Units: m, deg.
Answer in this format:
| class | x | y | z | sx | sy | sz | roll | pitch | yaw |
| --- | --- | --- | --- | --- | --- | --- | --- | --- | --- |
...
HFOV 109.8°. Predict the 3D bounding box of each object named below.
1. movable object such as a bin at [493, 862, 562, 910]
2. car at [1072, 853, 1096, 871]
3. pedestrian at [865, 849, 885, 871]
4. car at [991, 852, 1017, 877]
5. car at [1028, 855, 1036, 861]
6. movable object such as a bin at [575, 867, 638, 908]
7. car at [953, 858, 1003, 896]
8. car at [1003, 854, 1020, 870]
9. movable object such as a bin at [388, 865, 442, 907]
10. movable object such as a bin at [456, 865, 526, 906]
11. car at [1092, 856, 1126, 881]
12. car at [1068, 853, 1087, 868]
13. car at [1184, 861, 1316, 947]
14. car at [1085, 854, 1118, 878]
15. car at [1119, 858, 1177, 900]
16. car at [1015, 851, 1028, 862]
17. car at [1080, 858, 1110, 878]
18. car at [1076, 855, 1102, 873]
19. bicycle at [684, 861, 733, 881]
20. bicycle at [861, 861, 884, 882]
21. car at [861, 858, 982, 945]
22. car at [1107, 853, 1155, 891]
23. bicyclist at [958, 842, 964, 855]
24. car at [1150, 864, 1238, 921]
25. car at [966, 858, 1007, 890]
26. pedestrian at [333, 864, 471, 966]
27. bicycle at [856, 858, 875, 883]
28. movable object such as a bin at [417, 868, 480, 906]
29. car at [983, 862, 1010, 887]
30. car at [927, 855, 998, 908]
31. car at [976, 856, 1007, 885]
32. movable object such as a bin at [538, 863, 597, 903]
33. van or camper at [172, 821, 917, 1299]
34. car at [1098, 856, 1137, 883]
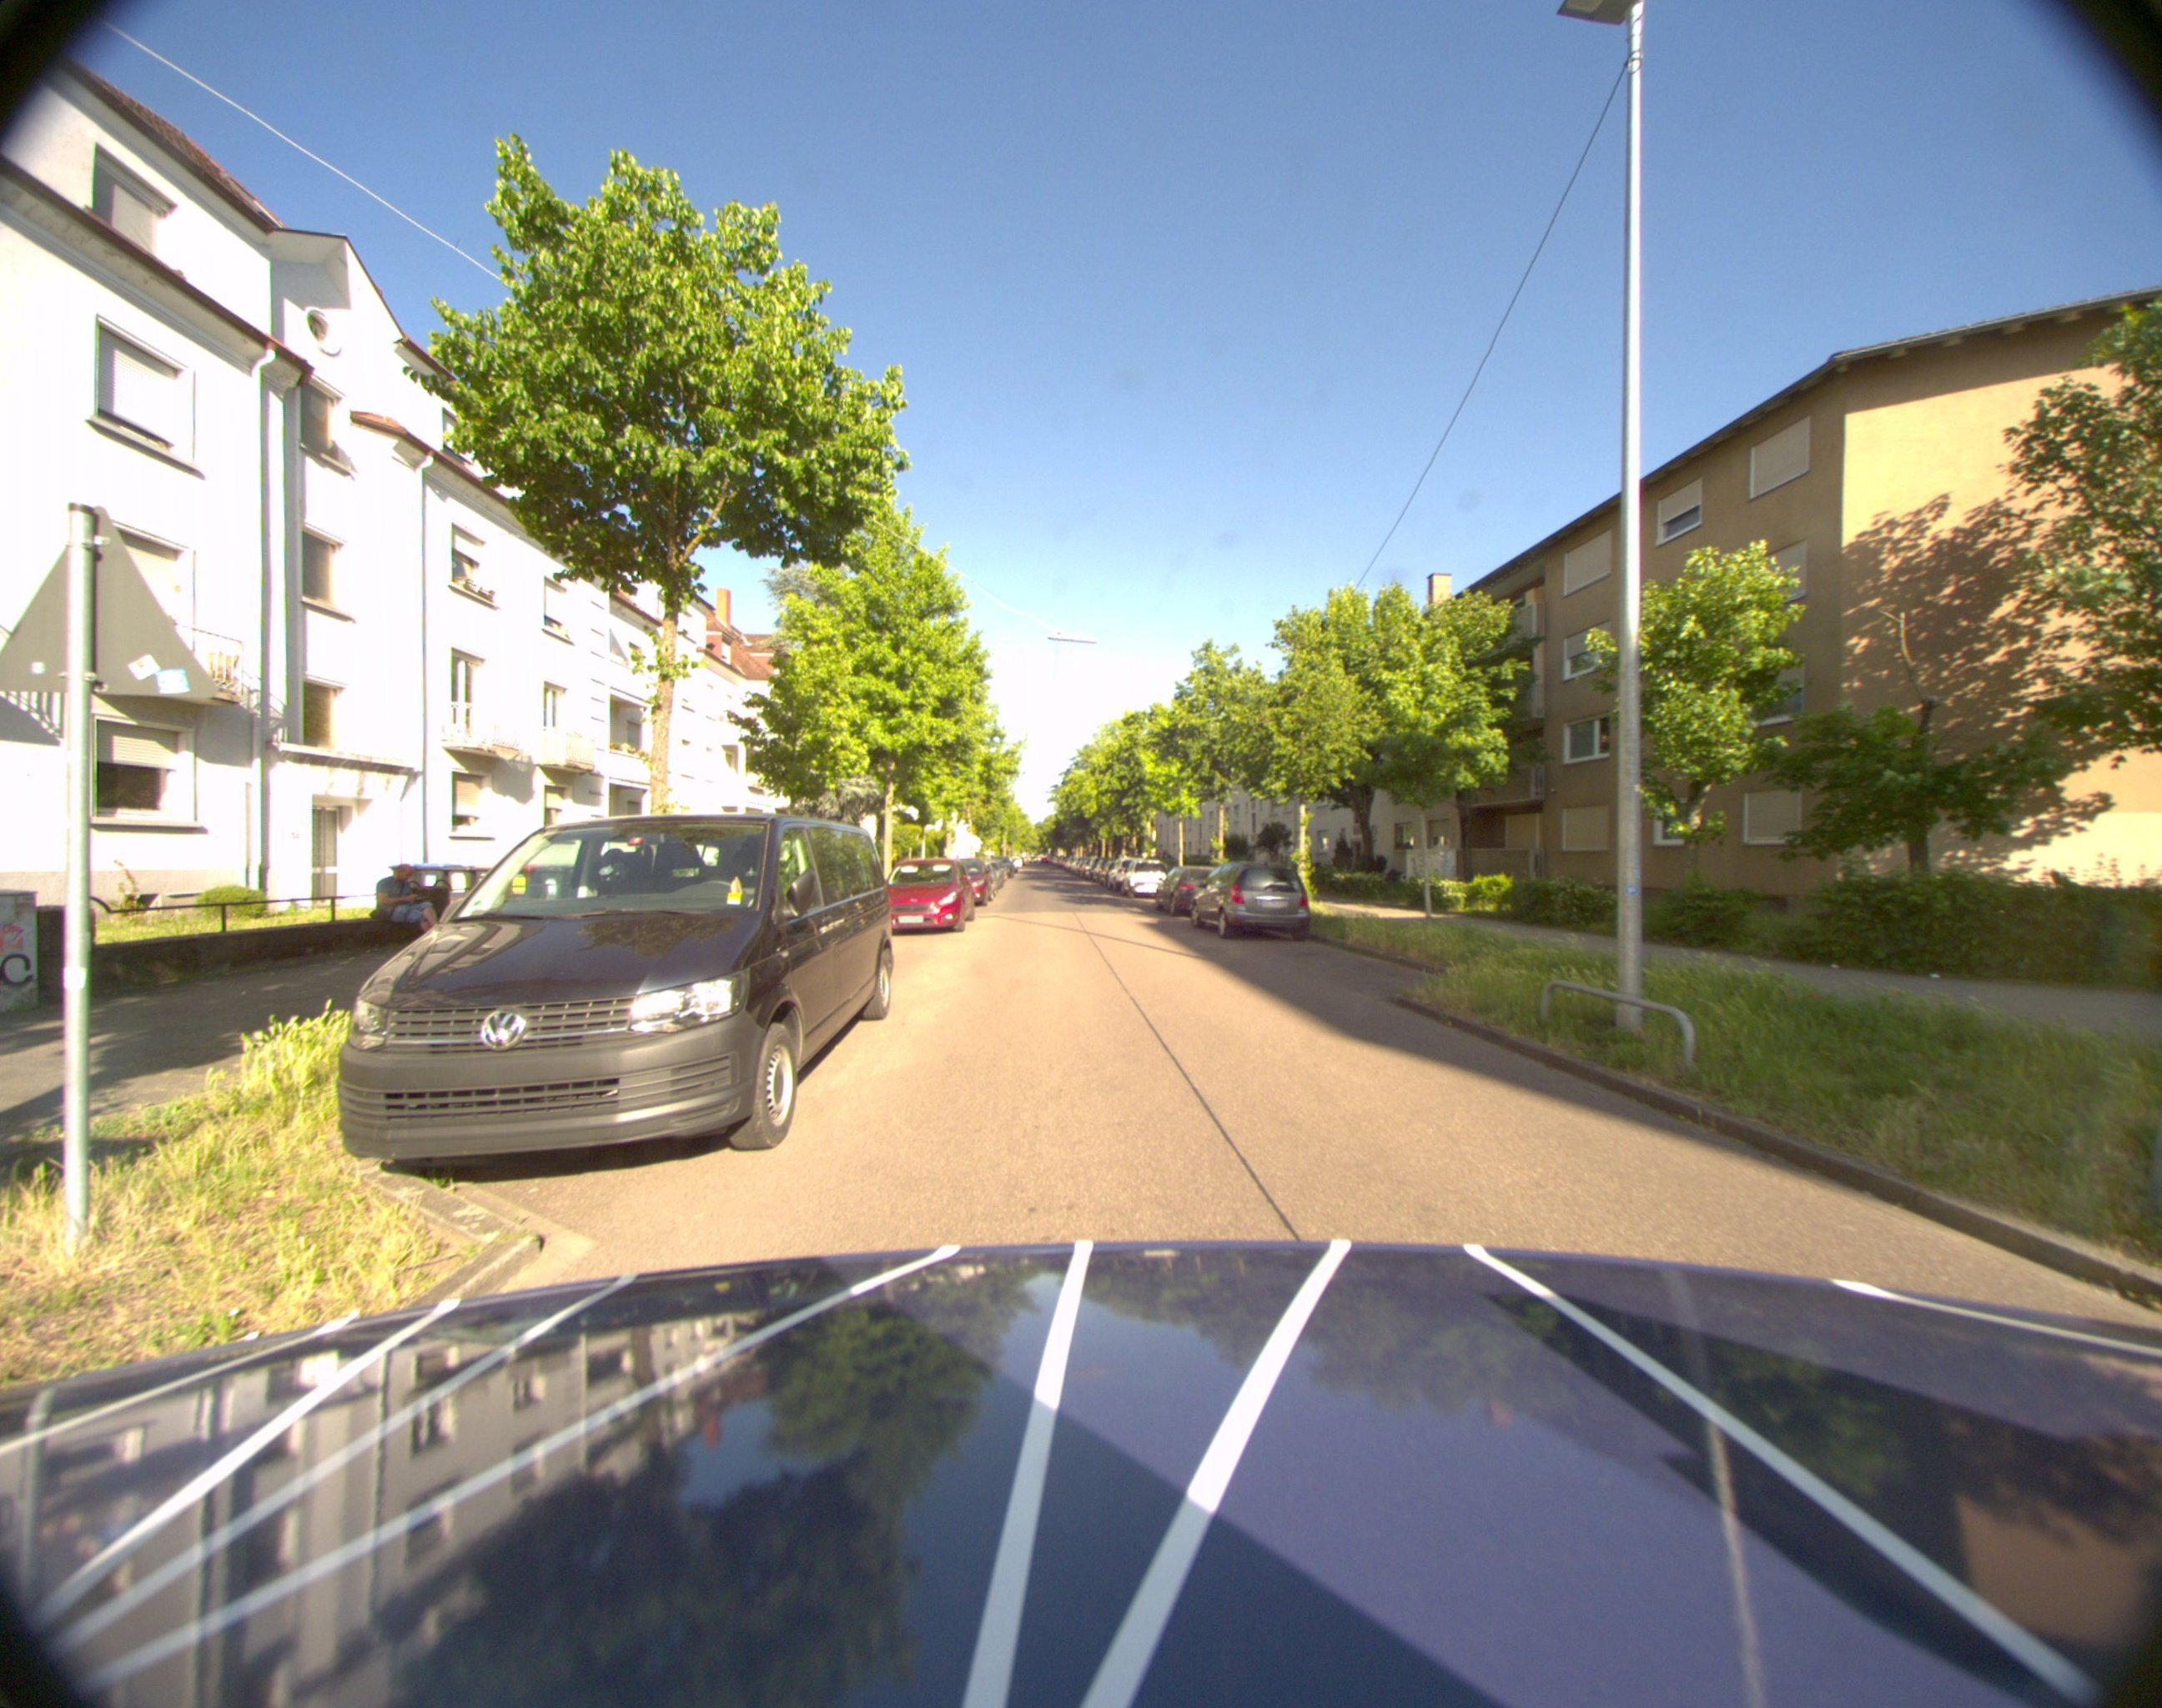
| class | x | y | z | sx | sy | sz | roll | pitch | yaw |
| --- | --- | --- | --- | --- | --- | --- | --- | --- | --- |
| movable object such as a bin | -12.703 | 0.723 | 17.471 | 0.777 | 1.020 | 1.010 | -2 | 1 | 1 |
| car | 0.242 | 0.686 | 69.526 | 1.880 | 1.553 | 4.181 | 1 | 1 | -4 |
| pedestrian | -13.258 | 0.398 | 48.928 | 1.038 | 1.370 | 0.714 | 0 | 1 | -39 |
| car | -5.610 | 0.743 | 55.680 | 1.769 | 1.627 | 4.012 | -2 | 1 | -5 |
| car | -11.749 | 1.018 | 181.631 | 1.769 | 1.486 | 3.781 | 0 | 0 | -5 |
| movable object such as a bin | -10.968 | 0.766 | 17.586 | 0.777 | 0.858 | 1.010 | -2 | 1 | 1 |
| car | -4.302 | 0.929 | 32.254 | 1.716 | 1.399 | 4.488 | 1 | 1 | -3 |
| car | -6.962 | 0.776 | 76.031 | 1.609 | 1.402 | 3.667 | -2 | 1 | -5 |
| movable object such as a bin | -15.232 | 0.719 | 17.394 | 0.672 | 0.916 | 0.596 | -2 | 1 | 1 |
| movable object such as a bin | -13.553 | 0.719 | 17.491 | 0.777 | 0.858 | 1.010 | -2 | 1 | 2 |
| car | 1.701 | 0.880 | 47.399 | 1.653 | 1.437 | 3.965 | 1 | 1 | -4 |
| car | -0.409 | 0.667 | 81.191 | 1.769 | 1.487 | 4.013 | -2 | 1 | -4 |
| car | 3.559 | 0.992 | 16.811 | 1.725 | 1.553 | 4.106 | 1 | 1 | -4 |
| car | 1.365 | 0.798 | 52.302 | 1.821 | 1.576 | 4.406 | 1 | 0 | -4 |
| car | 2.690 | 0.986 | 31.509 | 1.722 | 1.517 | 3.998 | -2 | 1 | -4 |
| car | -8.726 | 0.378 | 112.081 | 1.892 | 1.624 | 3.887 | 0 | 0 | -3 |
| car | 1.002 | 1.051 | 57.369 | 1.880 | 1.367 | 4.066 | 1 | 1 | -4 |
| car | 0.648 | 0.825 | 63.906 | 1.880 | 1.367 | 4.181 | 1 | 1 | -4 |
| bicycle | -17.354 | 0.786 | 35.428 | 2.035 | 0.913 | 0.559 | 1 | 1 | 1 |
| bicycle | -11.304 | 0.944 | 41.243 | 0.433 | 1.006 | 2.247 | -27 | 3 | -5 |
| car | -3.510 | 0.966 | 17.670 | 1.904 | 1.604 | 4.970 | -1 | 1 | -2 |
| car | 2.353 | 0.830 | 36.762 | 1.708 | 1.670 | 4.221 | 1 | 1 | -4 |
| bicyclist | -12.198 | -0.560 | 77.089 | 0.497 | 1.331 | 0.719 | 2 | 1 | -3 |
| car | 3.236 | 1.058 | 22.477 | 1.664 | 1.387 | 4.089 | -2 | 1 | -4 |
| car | -4.692 | 0.951 | 38.205 | 1.769 | 1.389 | 3.694 | -2 | 1 | -3 |
| pedestrian | -9.322 | 0.811 | 10.484 | 1.085 | 1.288 | 0.818 | -2 | 2 | -5 |
| bicycle | -10.954 | 0.822 | 38.693 | 0.490 | 1.190 | 2.174 | -2 | 1 | -4 |
| movable object such as a bin | -14.401 | 0.743 | 17.312 | 0.777 | 0.817 | 0.743 | -2 | 1 | 1 |
| car | -5.383 | 1.282 | 48.543 | 1.610 | 1.416 | 4.012 | -2 | 1 | -5 |
| car | -4.001 | 0.884 | 26.438 | 1.935 | 1.558 | 4.591 | 2 | 1 | -3 |
| car | -5.024 | 0.893 | 42.936 | 1.610 | 1.456 | 3.869 | -2 | 1 | -5 |
| movable object such as a bin | -11.852 | 0.663 | 17.558 | 0.777 | 0.858 | 0.765 | -2 | 1 | 1 |
| van or camper | -2.715 | 0.784 | 5.767 | 1.995 | 1.852 | 5.384 | -2 | 1 | -3 |
| car | 1.990 | 0.841 | 42.615 | 1.662 | 1.384 | 4.235 | 0 | 0 | -4 |
